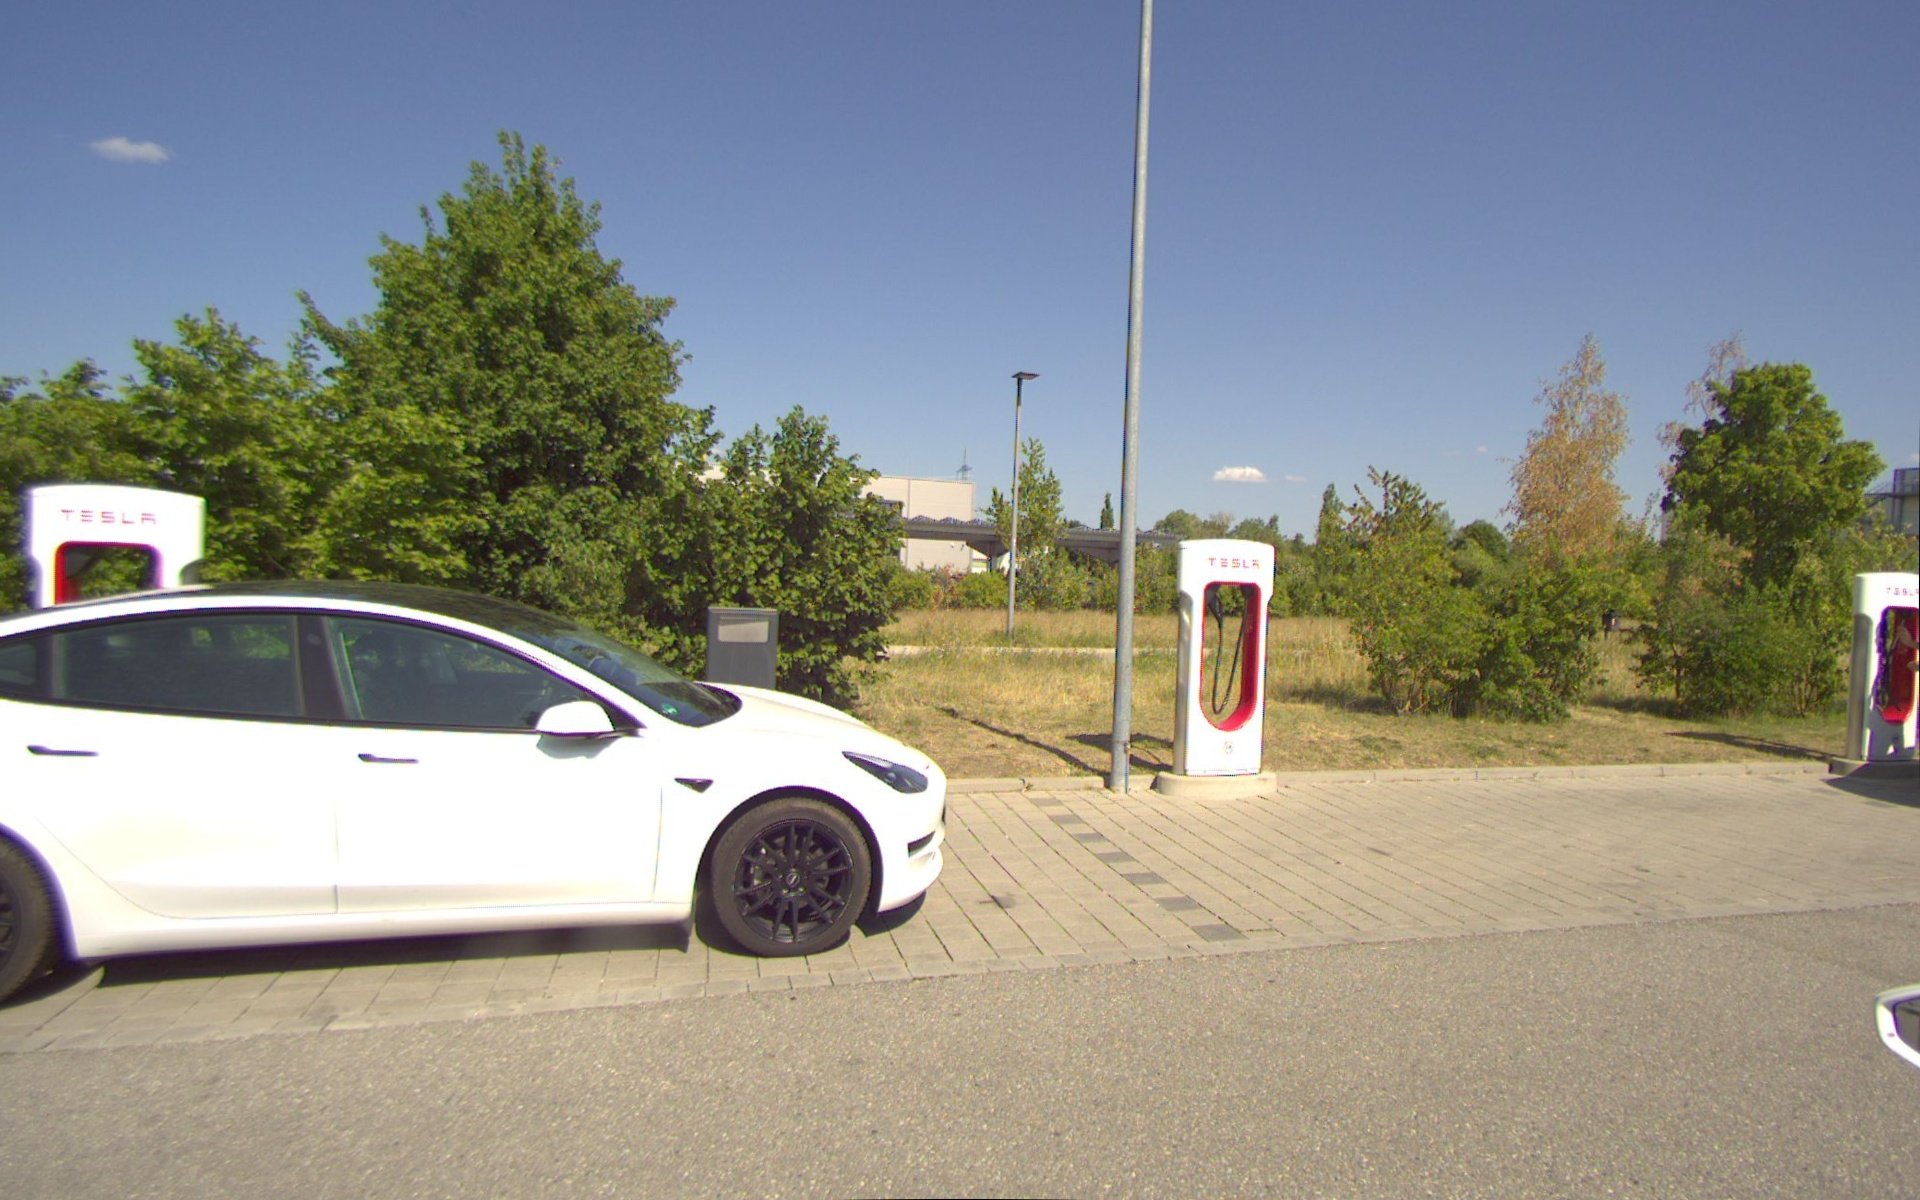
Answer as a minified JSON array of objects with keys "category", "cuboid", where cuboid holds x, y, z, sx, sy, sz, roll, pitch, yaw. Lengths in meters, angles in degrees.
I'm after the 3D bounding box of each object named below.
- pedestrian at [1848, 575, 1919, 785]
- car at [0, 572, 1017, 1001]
[{"category":"pedestrian","cuboid":[8.716,0.703,8.863,0.725,1.824,1.031,1,2,-17]},{"category":"car","cuboid":[-2.112,0.643,4.536,4.373,1.396,1.817,1,2,-14]}]
